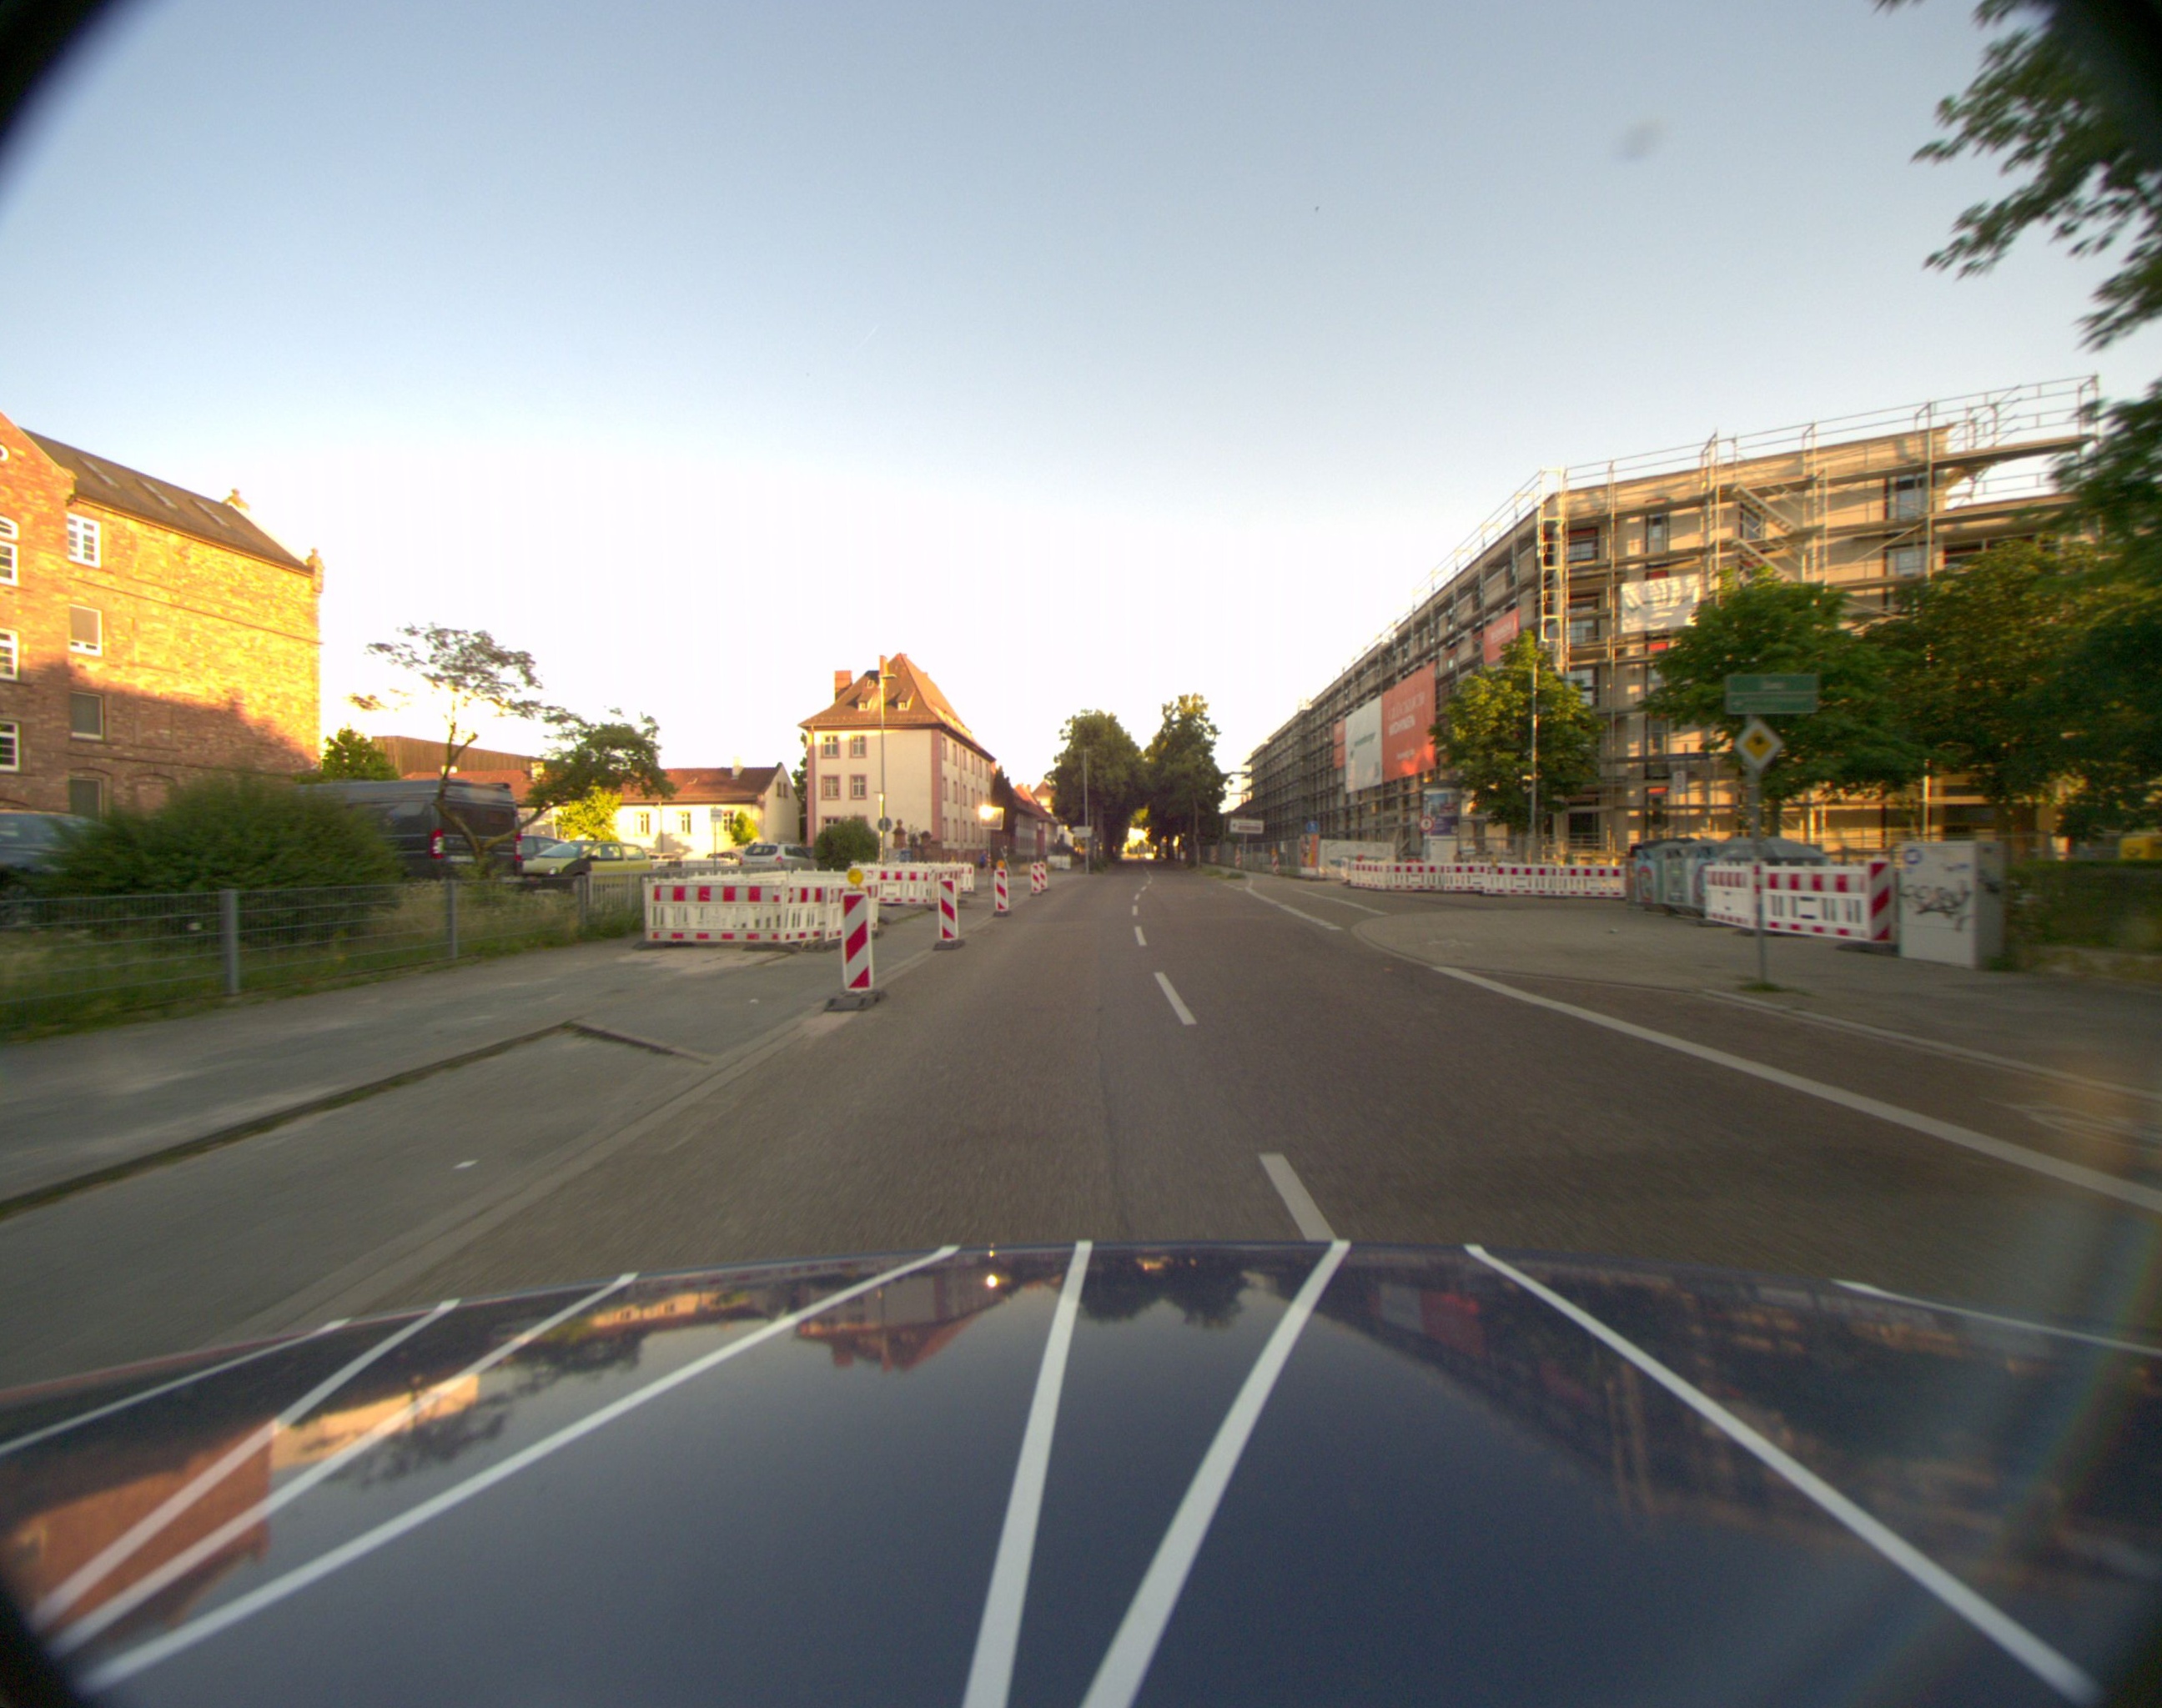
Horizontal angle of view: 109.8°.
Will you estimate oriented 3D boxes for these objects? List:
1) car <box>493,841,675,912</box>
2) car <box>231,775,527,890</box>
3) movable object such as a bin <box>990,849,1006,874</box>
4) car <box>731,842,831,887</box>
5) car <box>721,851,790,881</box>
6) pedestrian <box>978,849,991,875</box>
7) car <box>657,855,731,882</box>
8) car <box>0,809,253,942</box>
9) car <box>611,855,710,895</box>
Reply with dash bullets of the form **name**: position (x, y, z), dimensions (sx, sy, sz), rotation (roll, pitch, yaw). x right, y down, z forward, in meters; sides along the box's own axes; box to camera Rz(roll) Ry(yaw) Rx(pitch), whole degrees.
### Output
- **car**: position (-12.755, 0.511, 19.846), dimensions (1.700, 1.639, 4.137), rotation (-1, 1, 6)
- **car**: position (-14.452, -0.418, 15.819), dimensions (4.433, 2.184, 2.000), rotation (-1, 1, 4)
- **movable object such as a bin**: position (-5.218, 0.460, 47.950), dimensions (0.978, 1.600, 0.634), rotation (-1, 1, -5)
- **car**: position (-11.635, 0.361, 29.848), dimensions (1.919, 1.620, 4.808), rotation (-1, 1, 1)
- **car**: position (-19.353, 0.661, 45.383), dimensions (1.997, 1.692, 4.002), rotation (-1, 1, 8)
- **pedestrian**: position (-6.074, 0.497, 47.837), dimensions (0.716, 1.600, 0.518), rotation (-1, 1, -5)
- **car**: position (-23.387, 0.856, 46.093), dimensions (1.997, 1.496, 4.002), rotation (-1, 1, 8)
- **car**: position (-14.729, 0.287, 10.564), dimensions (4.433, 1.639, 2.000), rotation (-1, 1, 4)
- **car**: position (-18.328, 0.876, 33.352), dimensions (2.016, 1.591, 4.000), rotation (-1, 1, 1)
